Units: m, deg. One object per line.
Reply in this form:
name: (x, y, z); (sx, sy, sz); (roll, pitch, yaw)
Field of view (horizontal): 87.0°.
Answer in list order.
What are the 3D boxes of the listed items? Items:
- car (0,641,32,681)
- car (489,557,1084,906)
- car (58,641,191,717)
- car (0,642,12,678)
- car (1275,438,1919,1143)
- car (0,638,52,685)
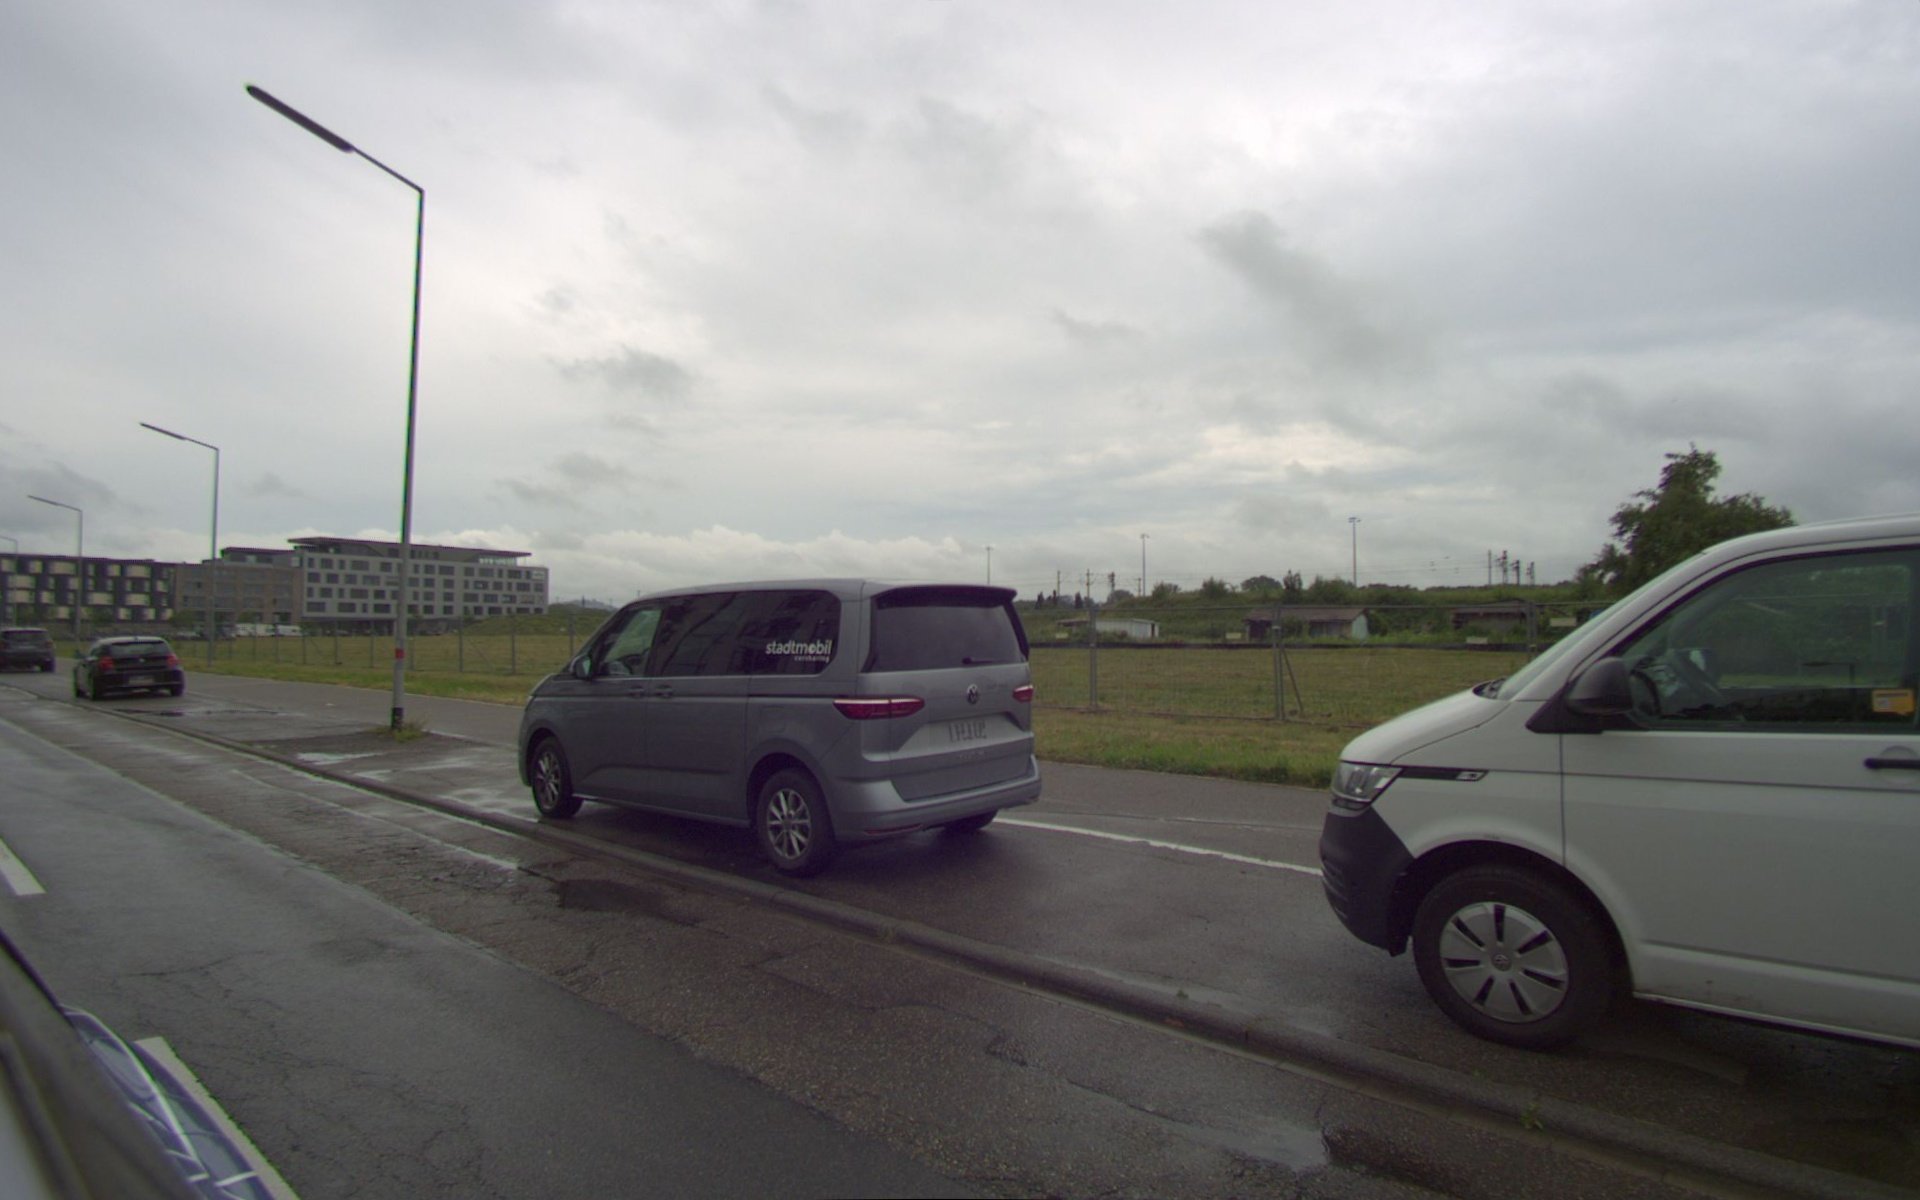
car: (-40.416, 2.528, 42.459); (4.131, 1.602, 1.734); (-2, -3, 41)
car: (-1.644, 0.801, 7.978); (4.993, 1.916, 1.935); (-2, -2, 42)
car: (-20.155, 1.823, 24.351); (4.150, 1.573, 1.828); (-2, 0, 42)
car: (-44.811, 2.726, 46.219); (4.207, 1.587, 1.708); (-1, -2, 40)
car: (3.898, 0.548, 3.168); (5.256, 2.029, 1.875); (-2, -3, 42)
car: (-36.324, 2.319, 38.941); (4.882, 1.706, 1.733); (-3, -3, 44)
